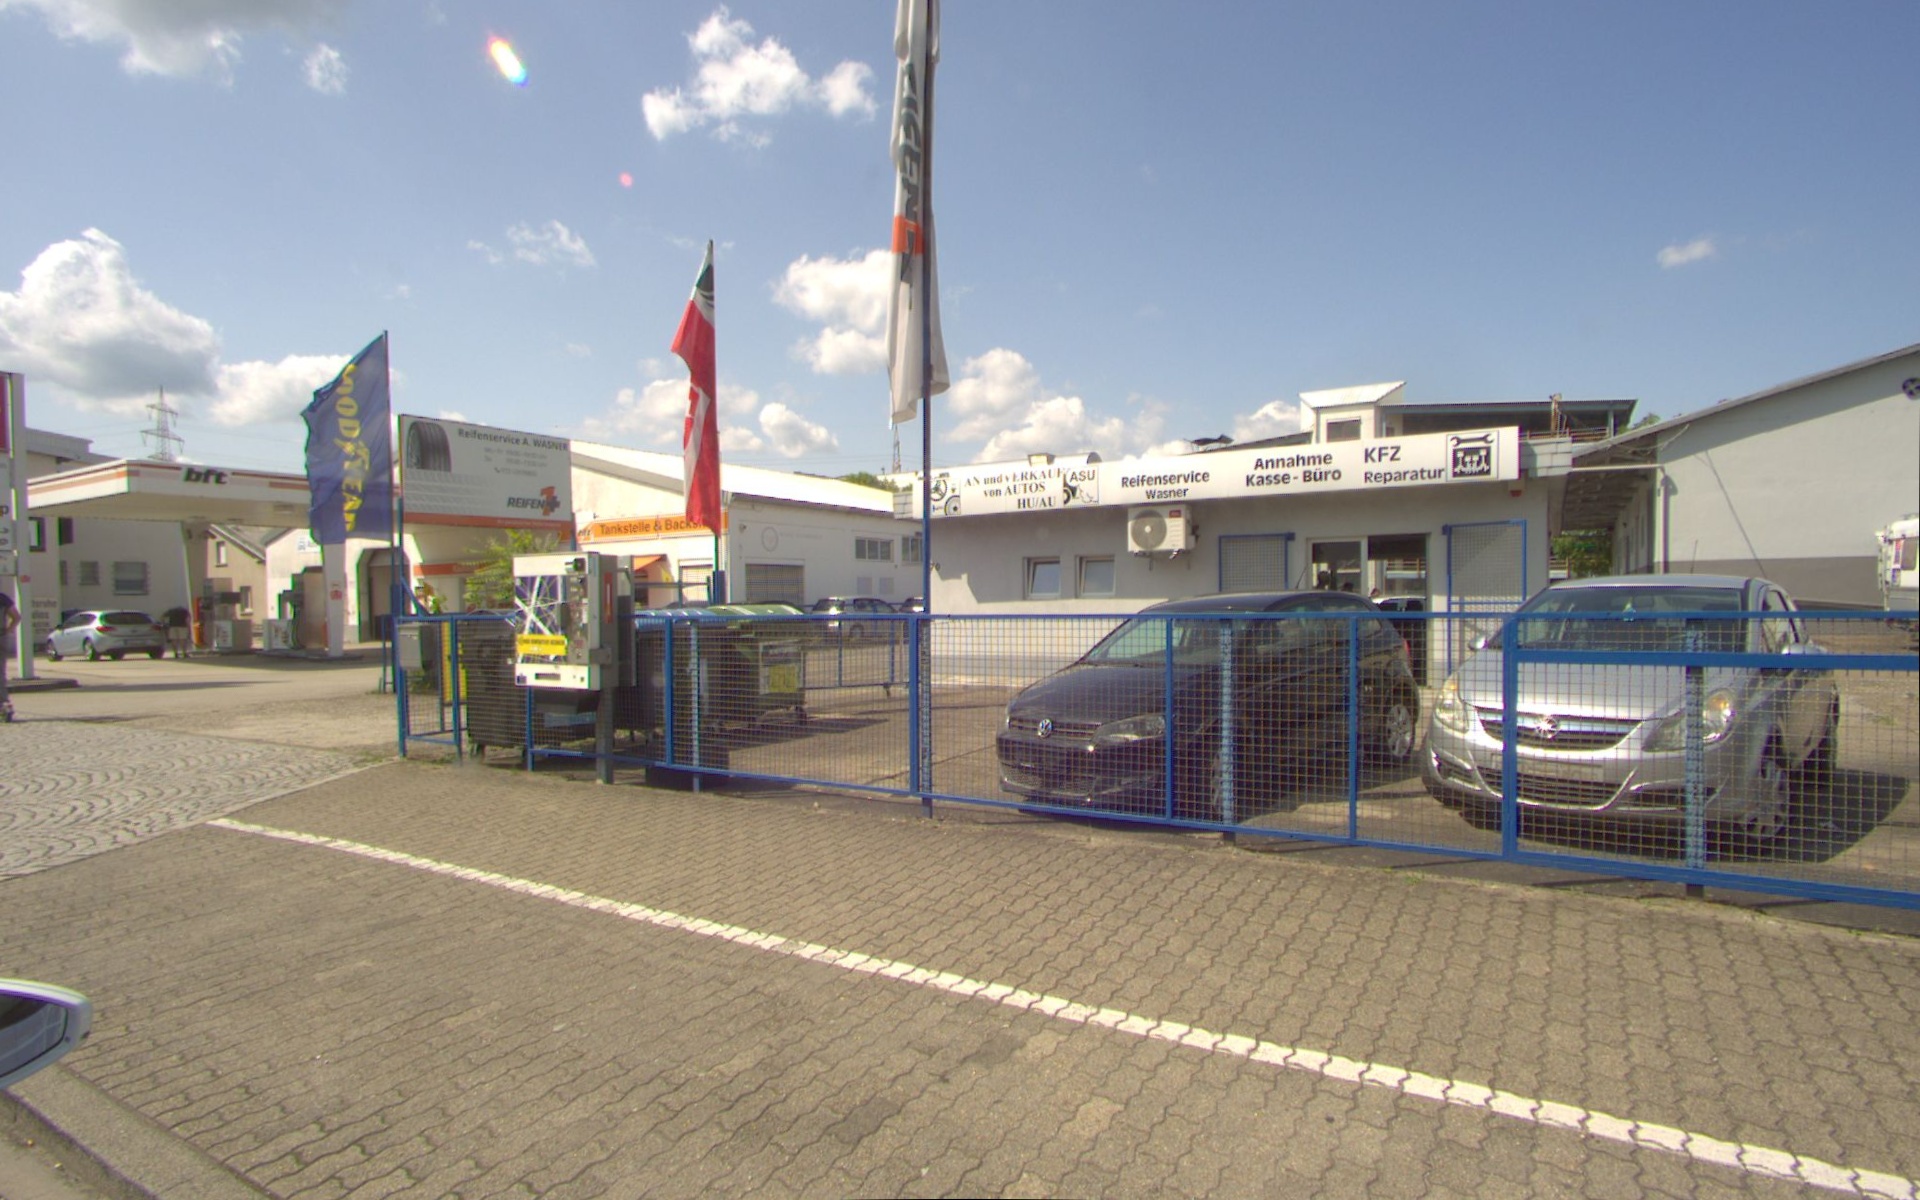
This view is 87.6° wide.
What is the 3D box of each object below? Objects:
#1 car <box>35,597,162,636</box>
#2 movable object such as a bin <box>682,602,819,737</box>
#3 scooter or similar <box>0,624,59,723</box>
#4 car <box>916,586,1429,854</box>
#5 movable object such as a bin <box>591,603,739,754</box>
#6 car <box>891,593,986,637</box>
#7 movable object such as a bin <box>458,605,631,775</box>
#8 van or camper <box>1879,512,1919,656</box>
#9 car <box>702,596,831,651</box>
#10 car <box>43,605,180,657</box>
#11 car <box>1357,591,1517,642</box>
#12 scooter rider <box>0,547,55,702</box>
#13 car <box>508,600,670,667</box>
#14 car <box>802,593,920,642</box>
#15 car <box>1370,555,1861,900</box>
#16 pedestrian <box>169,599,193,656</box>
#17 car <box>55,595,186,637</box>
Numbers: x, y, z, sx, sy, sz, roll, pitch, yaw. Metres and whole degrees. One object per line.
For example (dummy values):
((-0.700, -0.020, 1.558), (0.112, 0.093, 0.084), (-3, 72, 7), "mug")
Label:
((-39.203, 0.729, 45.667), (1.937, 1.671, 3.979), (-1, 1, 31), "car")
((-2.442, 0.776, 11.803), (0.939, 1.463, 1.320), (-1, 1, 25), "movable object such as a bin")
((-12.507, 0.940, 13.158), (1.588, 1.211, 0.539), (-1, 1, 32), "scooter or similar")
((1.752, 0.656, 7.467), (3.955, 1.462, 1.696), (-1, 0, -41), "car")
((-3.118, 0.788, 10.664), (0.812, 1.463, 1.253), (-1, 1, 32), "movable object such as a bin")
((-0.703, 0.505, 35.636), (1.590, 1.406, 3.652), (-1, 1, 33), "car")
((-3.935, 0.802, 9.555), (0.812, 1.463, 1.253), (-1, 1, 32), "movable object such as a bin")
((21.405, -0.379, 19.322), (4.986, 2.810, 2.304), (-1, 1, 29), "van or camper")
((-5.344, 0.633, 27.991), (1.589, 1.379, 3.488), (-1, 1, 32), "car")
((-25.843, 0.927, 30.472), (3.941, 1.439, 1.956), (-1, 1, 30), "car")
((14.123, 0.500, 29.676), (4.120, 1.406, 1.918), (-1, 1, 31), "car")
((-12.562, 0.321, 13.200), (0.774, 1.989, 0.715), (-1, 1, 32), "scooter rider")
((-8.690, 0.748, 23.674), (1.589, 1.379, 3.312), (-1, 1, 32), "car")
((-3.079, 0.535, 31.904), (1.590, 1.406, 3.998), (-1, 1, 33), "car")
((4.360, 0.549, 6.391), (3.958, 1.516, 1.734), (-1, 0, -43), "car")
((-23.841, 0.836, 30.649), (0.478, 1.711, 0.395), (-1, 1, 33), "pedestrian")
((-37.084, 0.686, 44.325), (1.937, 1.671, 3.979), (-1, 1, 31), "car")
